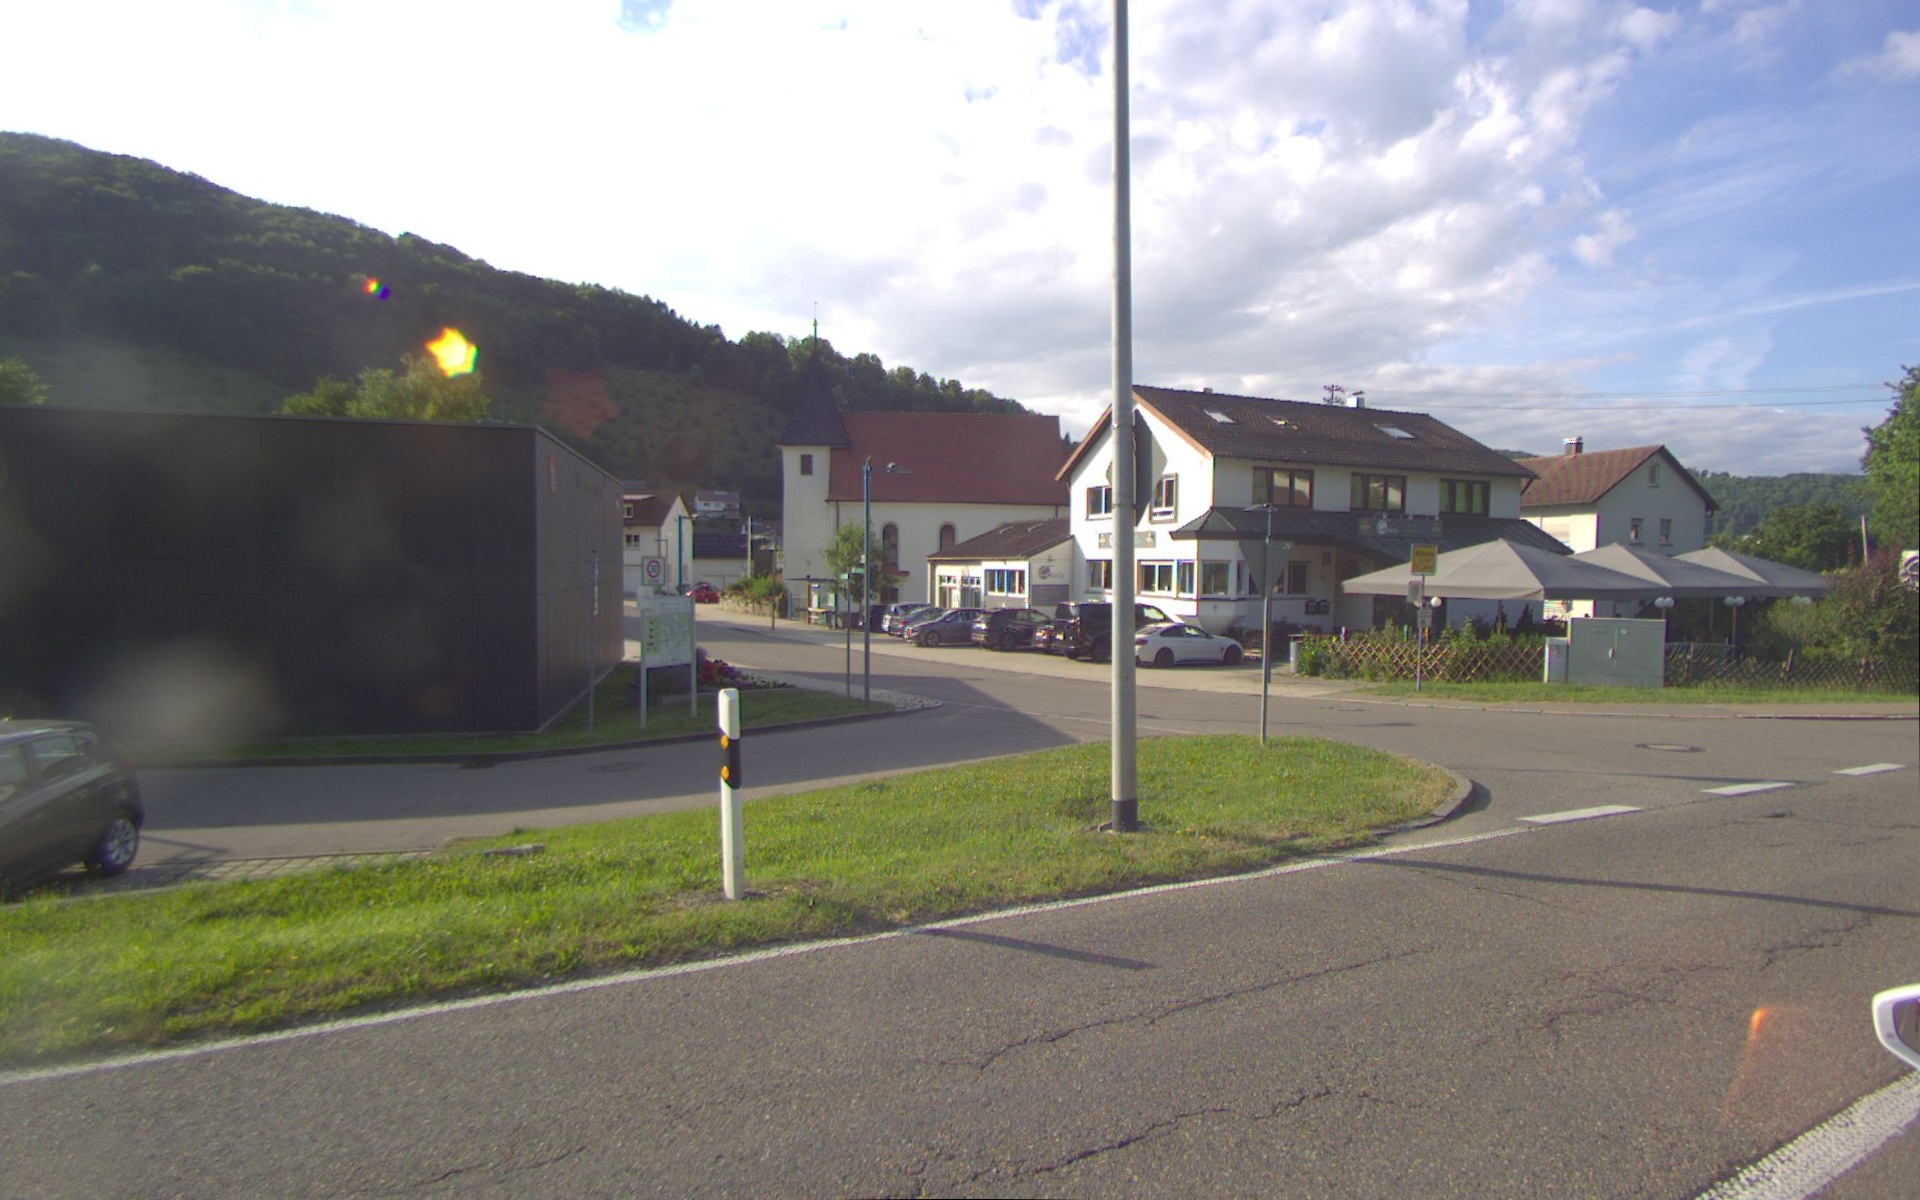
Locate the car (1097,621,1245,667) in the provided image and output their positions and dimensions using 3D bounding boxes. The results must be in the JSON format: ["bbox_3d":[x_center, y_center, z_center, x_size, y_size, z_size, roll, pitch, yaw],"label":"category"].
[{"bbox_3d":[6.912,1.422,32.874,4.518,1.408,1.986,1,-1,-27],"label":"car"}]

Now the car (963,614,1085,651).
[{"bbox_3d":[2.554,1.281,40.180,4.518,1.431,1.986,1,-1,-27],"label":"car"}]

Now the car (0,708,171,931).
[{"bbox_3d":[-8.499,1.826,8.046,1.801,1.555,3.992,1,-1,-12],"label":"car"}]

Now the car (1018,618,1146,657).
[{"bbox_3d":[4.653,1.406,38.241,4.518,1.408,1.986,1,-1,-27],"label":"car"}]

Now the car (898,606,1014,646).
[{"bbox_3d":[-0.162,1.097,42.324,4.518,1.618,1.986,1,-1,-27],"label":"car"}]

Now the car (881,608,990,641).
[{"bbox_3d":[-1.101,1.092,45.487,4.518,1.431,1.986,1,-1,-27],"label":"car"}]

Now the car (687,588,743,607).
[{"bbox_3d":[-19.696,-0.198,80.652,3.956,1.528,1.982,0,0,-33],"label":"car"}]

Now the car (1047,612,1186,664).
[{"bbox_3d":[5.477,1.302,35.134,4.518,1.707,1.986,1,-1,-27],"label":"car"}]

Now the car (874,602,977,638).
[{"bbox_3d":[-1.643,0.977,48.085,4.518,1.665,1.986,1,-1,-27],"label":"car"}]
